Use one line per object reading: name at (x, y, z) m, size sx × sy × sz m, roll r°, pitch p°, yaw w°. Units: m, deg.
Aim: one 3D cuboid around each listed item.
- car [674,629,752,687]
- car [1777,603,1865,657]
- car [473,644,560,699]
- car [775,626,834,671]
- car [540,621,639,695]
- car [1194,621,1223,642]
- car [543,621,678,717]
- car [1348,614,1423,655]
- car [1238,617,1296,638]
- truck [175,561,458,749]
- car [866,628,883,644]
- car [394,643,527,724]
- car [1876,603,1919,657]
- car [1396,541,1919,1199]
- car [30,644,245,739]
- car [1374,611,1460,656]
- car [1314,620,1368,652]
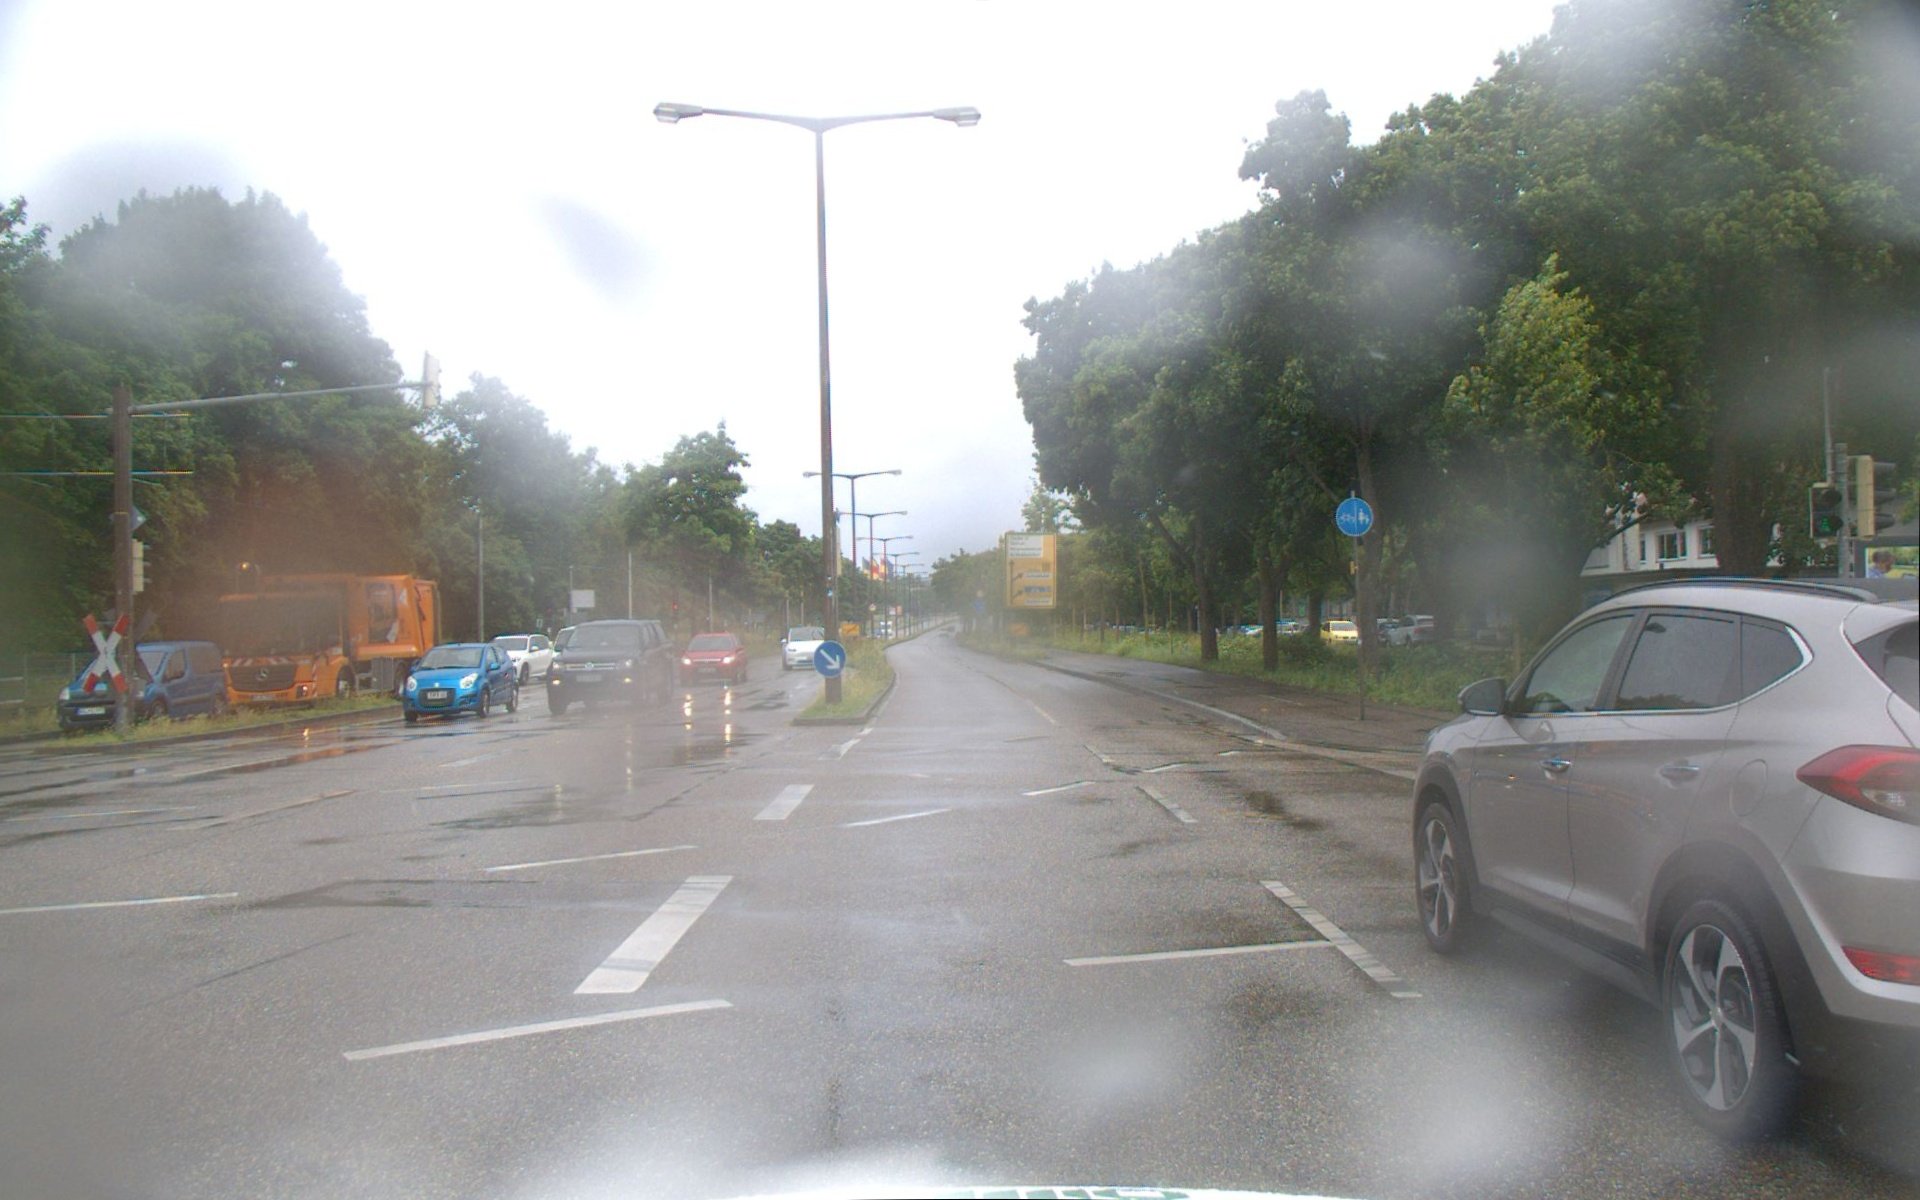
car at (-7.464, 1.759, 50.373) m, size 1.765 × 1.597 × 4.427 m, roll -3°, pitch -2°, yaw -2°
car at (25.003, 0.883, 47.983) m, size 1.637 × 1.475 × 3.735 m, roll -1°, pitch -2°, yaw 38°
car at (-15.769, 2.522, 59.098) m, size 1.953 × 1.860 × 4.769 m, roll 1°, pitch -2°, yaw -2°
car at (-6.028, 1.877, 64.578) m, size 1.921 × 1.645 × 4.695 m, roll -2°, pitch -1°, yaw -1°
car at (-10.806, 1.639, 48.532) m, size 1.890 × 2.053 × 4.742 m, roll 0°, pitch -1°, yaw -1°
car at (18.799, 2.364, 125.264) m, size 1.708 × 1.471 × 4.122 m, roll -1°, pitch 0°, yaw 2°
car at (-7.241, 1.389, 34.777) m, size 1.769 × 1.804 × 5.087 m, roll -2°, pitch -1°, yaw -1°
car at (19.106, 1.568, 74.494) m, size 1.954 × 1.747 × 4.638 m, roll -1°, pitch -2°, yaw -3°
car at (25.993, 2.306, 140.203) m, size 4.482 × 1.674 × 1.997 m, roll 1°, pitch -2°, yaw -6°
truck at (-16.330, 1.408, 43.129) m, size 3.316 × 4.241 × 10.403 m, roll 1°, pitch -2°, yaw -1°
car at (-9.562, 4.064, 184.890) m, size 1.709 × 1.679 × 4.134 m, roll -3°, pitch -1°, yaw -2°
car at (-10.088, 1.652, 33.701) m, size 1.608 × 1.452 × 3.997 m, roll -3°, pitch -1°, yaw -3°
car at (27.029, 0.871, 46.548) m, size 1.637 × 1.475 × 3.735 m, roll -1°, pitch -2°, yaw 38°
car at (3.106, 0.734, 6.072) m, size 1.846 × 1.639 × 4.194 m, roll 1°, pitch -1°, yaw -1°
car at (-16.252, 1.770, 32.985) m, size 1.952 × 1.739 × 4.526 m, roll 1°, pitch -2°, yaw 0°
car at (18.978, 1.422, 68.918) m, size 1.954 × 1.747 × 4.875 m, roll -1°, pitch -2°, yaw -3°
car at (18.922, 1.797, 82.291) m, size 1.604 × 1.512 × 4.070 m, roll 1°, pitch -2°, yaw -3°
